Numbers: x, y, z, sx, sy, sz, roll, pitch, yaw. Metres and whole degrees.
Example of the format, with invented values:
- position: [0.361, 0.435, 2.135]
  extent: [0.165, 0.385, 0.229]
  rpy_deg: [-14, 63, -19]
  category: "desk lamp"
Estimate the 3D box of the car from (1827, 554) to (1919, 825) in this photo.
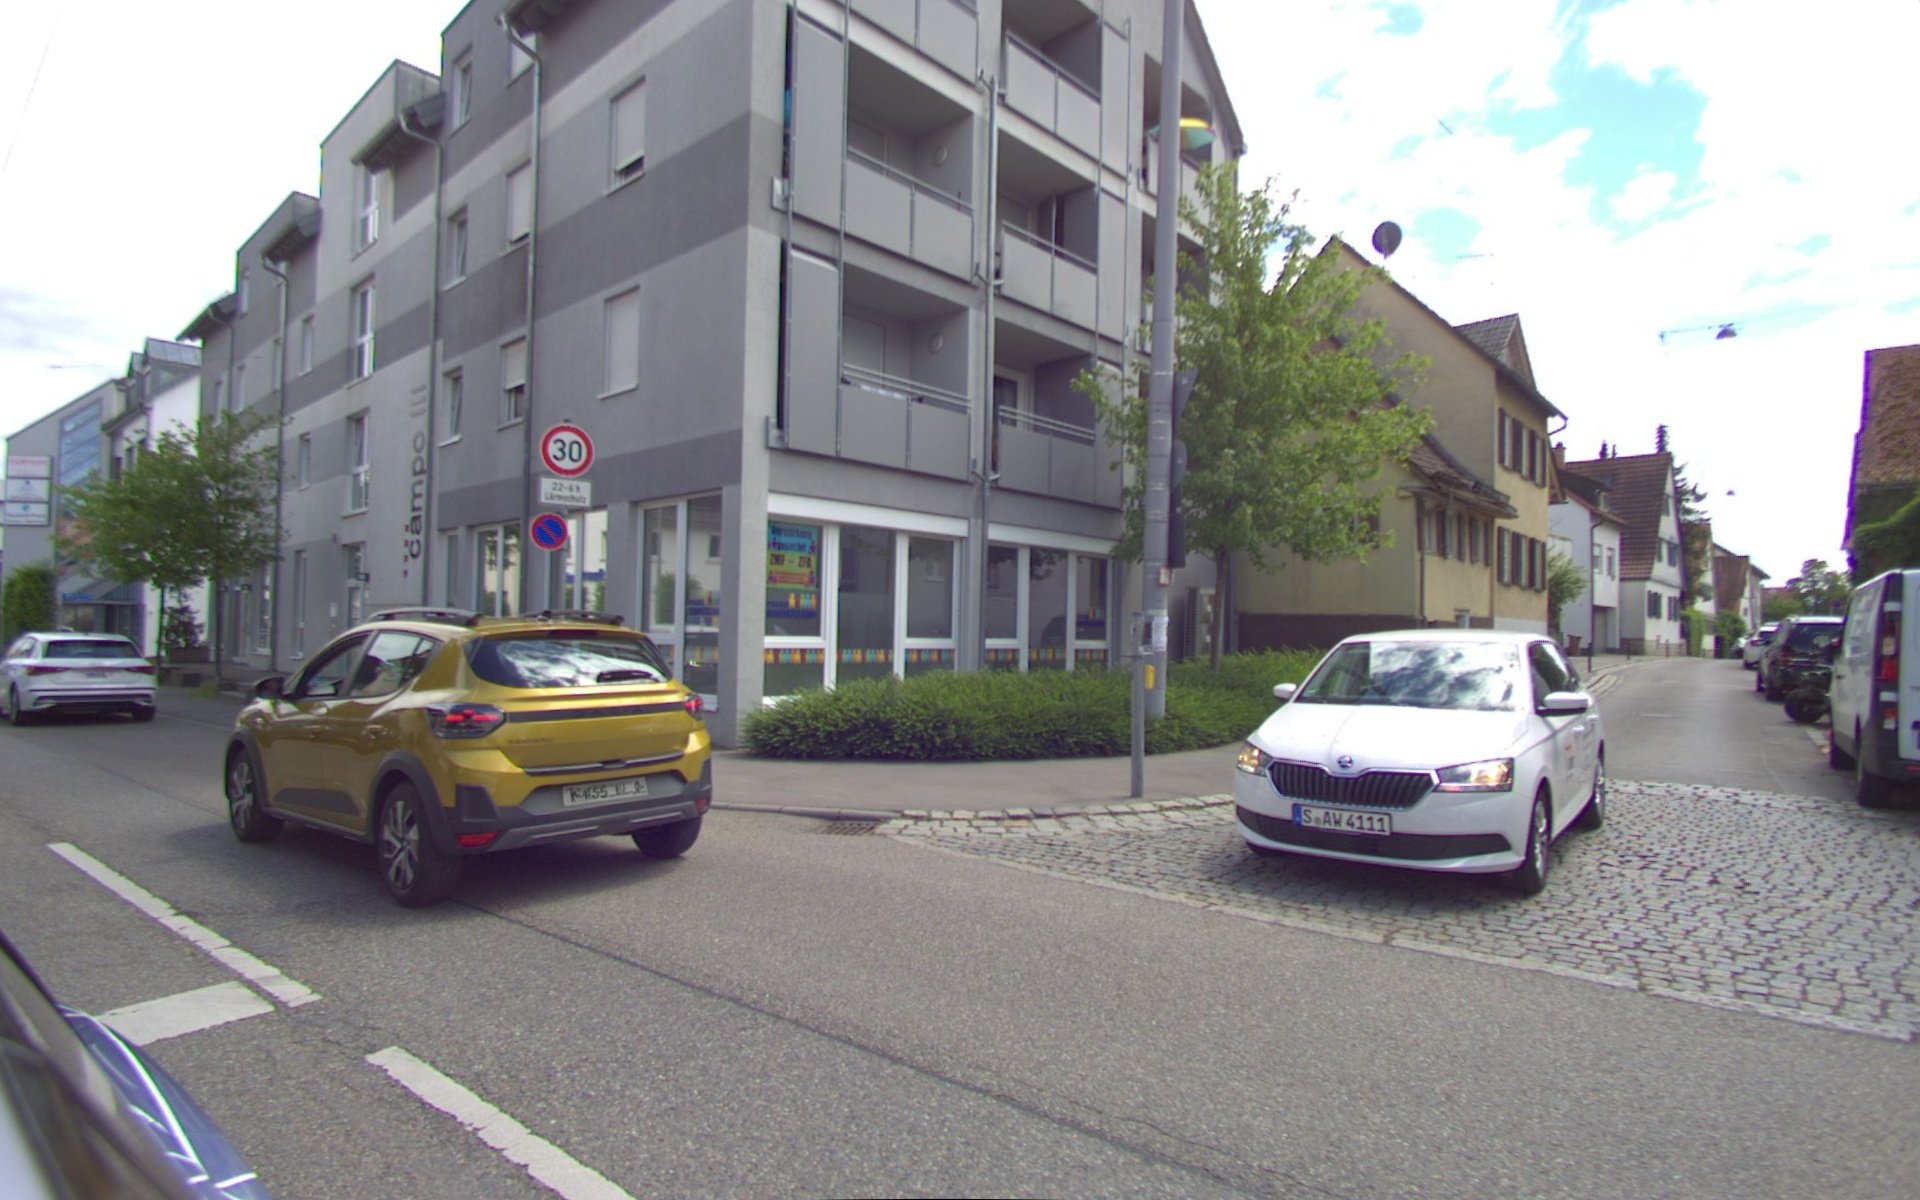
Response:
- position: [9.197, 0.702, 8.880]
  extent: [2.092, 2.024, 4.577]
  rpy_deg: [-1, -2, 37]
  category: "car"

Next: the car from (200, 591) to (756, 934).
- position: [-3.269, 0.810, 6.534]
  extent: [3.996, 1.550, 1.711]
  rpy_deg: [-2, -3, 39]
  category: "car"

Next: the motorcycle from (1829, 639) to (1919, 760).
- position: [11.222, 1.124, 11.410]
  extent: [2.135, 1.343, 0.832]
  rpy_deg: [-1, -2, 43]
  category: "motorcycle"

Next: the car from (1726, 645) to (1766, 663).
- position: [52.169, 3.540, 67.128]
  extent: [1.893, 1.073, 4.102]
  rpy_deg: [-2, -2, 41]
  category: "car"

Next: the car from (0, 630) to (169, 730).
- position: [-14.736, 1.220, 16.691]
  extent: [4.112, 1.435, 1.855]
  rpy_deg: [-1, -2, 40]
  category: "car"

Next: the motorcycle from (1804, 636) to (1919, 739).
- position: [12.550, 1.167, 13.661]
  extent: [1.588, 1.345, 0.682]
  rpy_deg: [-1, -2, 18]
  category: "motorcycle"

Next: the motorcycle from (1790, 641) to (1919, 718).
- position: [15.322, 1.312, 17.073]
  extent: [0.461, 1.233, 1.968]
  rpy_deg: [2, -2, -41]
  category: "motorcycle"

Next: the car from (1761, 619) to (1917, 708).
- position: [17.464, 1.201, 20.315]
  extent: [2.035, 1.588, 4.107]
  rpy_deg: [-1, -2, 37]
  category: "car"

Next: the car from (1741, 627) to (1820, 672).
- position: [27.116, 1.600, 33.552]
  extent: [1.833, 1.379, 4.107]
  rpy_deg: [-1, -2, 37]
  category: "car"

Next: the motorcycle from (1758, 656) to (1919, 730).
- position: [13.587, 1.375, 15.175]
  extent: [2.328, 1.012, 1.194]
  rpy_deg: [-1, -2, 28]
  category: "motorcycle"
